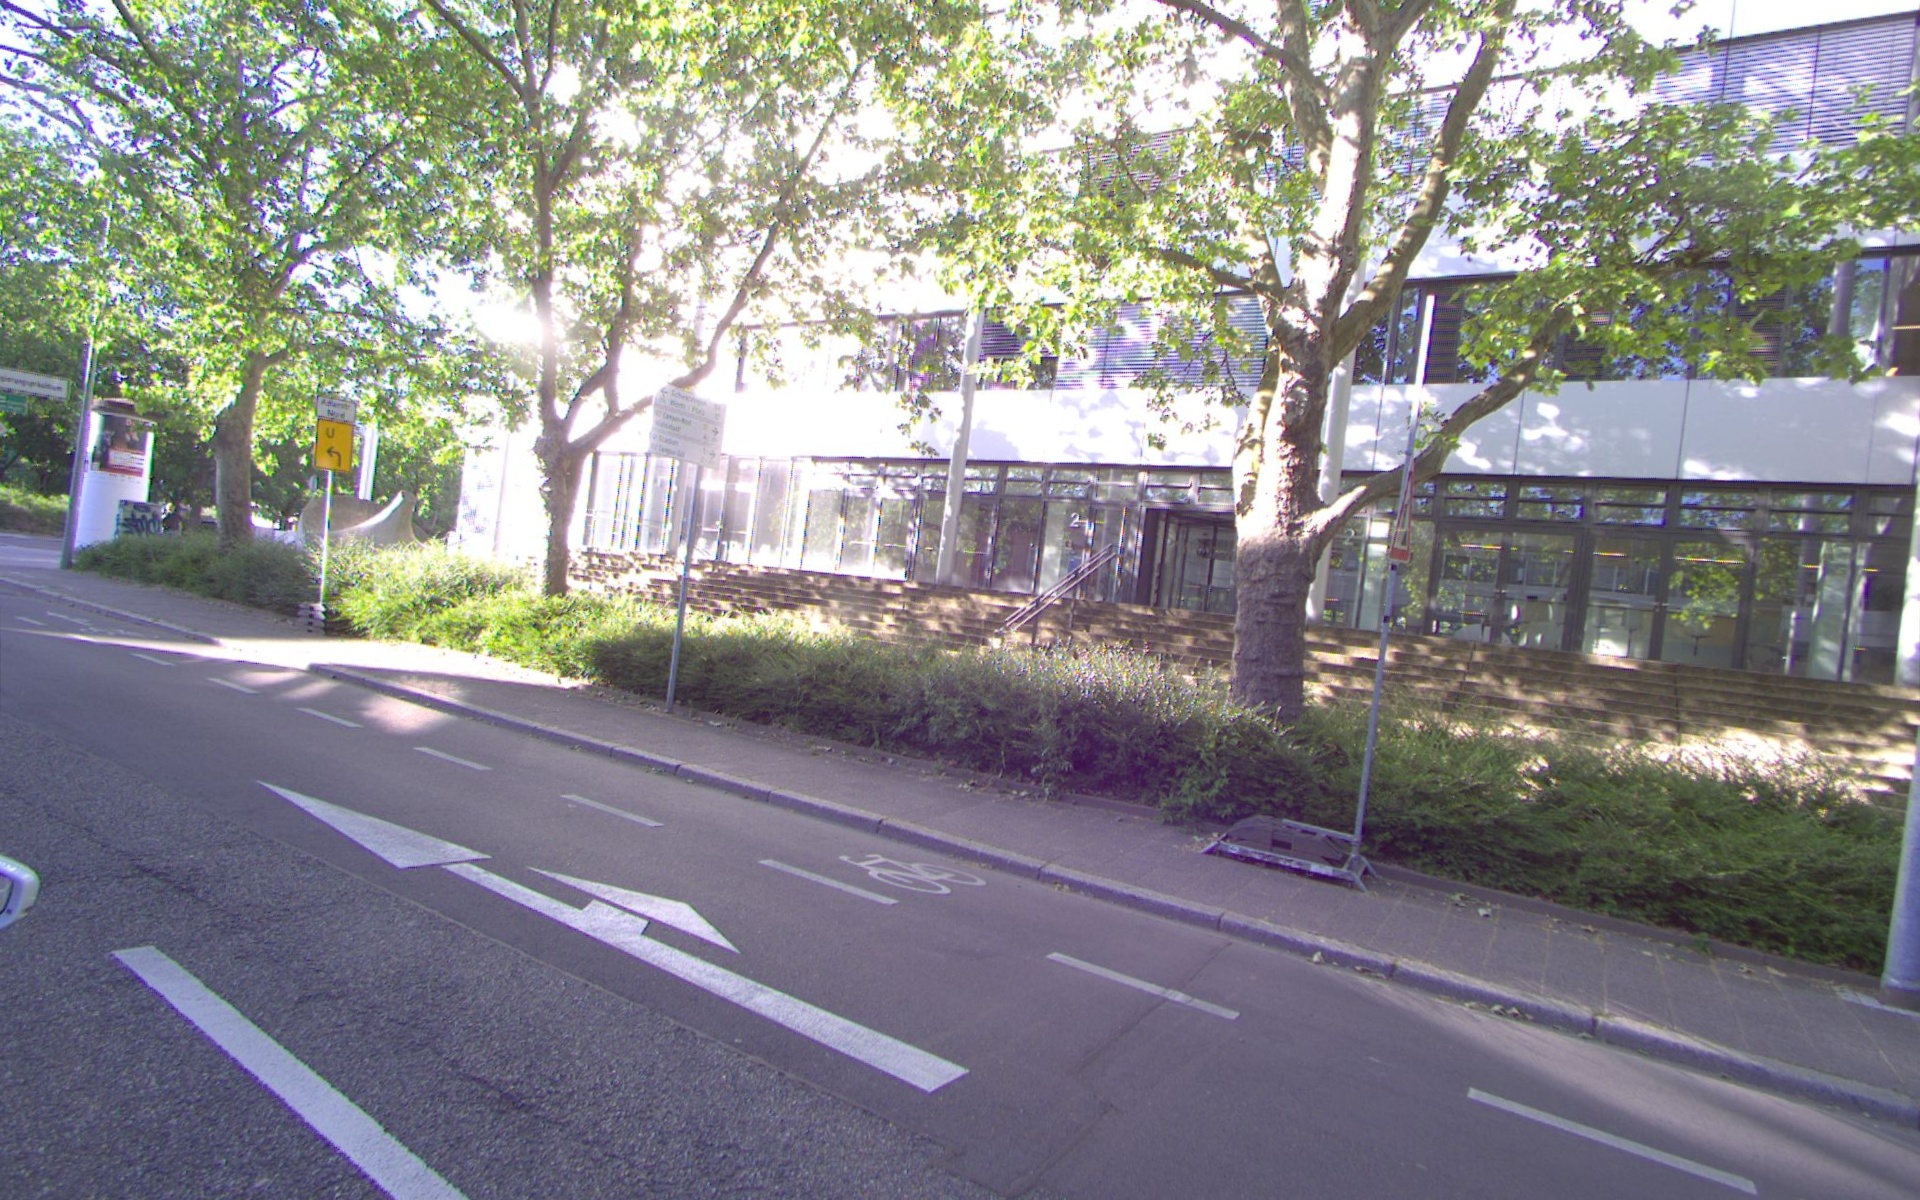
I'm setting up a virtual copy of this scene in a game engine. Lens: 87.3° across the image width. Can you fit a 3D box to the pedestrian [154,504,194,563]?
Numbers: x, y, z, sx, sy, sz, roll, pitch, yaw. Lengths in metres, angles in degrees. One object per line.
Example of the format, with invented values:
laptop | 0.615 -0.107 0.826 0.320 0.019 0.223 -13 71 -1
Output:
pedestrian | -25.541 -2.170 32.681 0.719 1.799 0.735 6 -1 41
